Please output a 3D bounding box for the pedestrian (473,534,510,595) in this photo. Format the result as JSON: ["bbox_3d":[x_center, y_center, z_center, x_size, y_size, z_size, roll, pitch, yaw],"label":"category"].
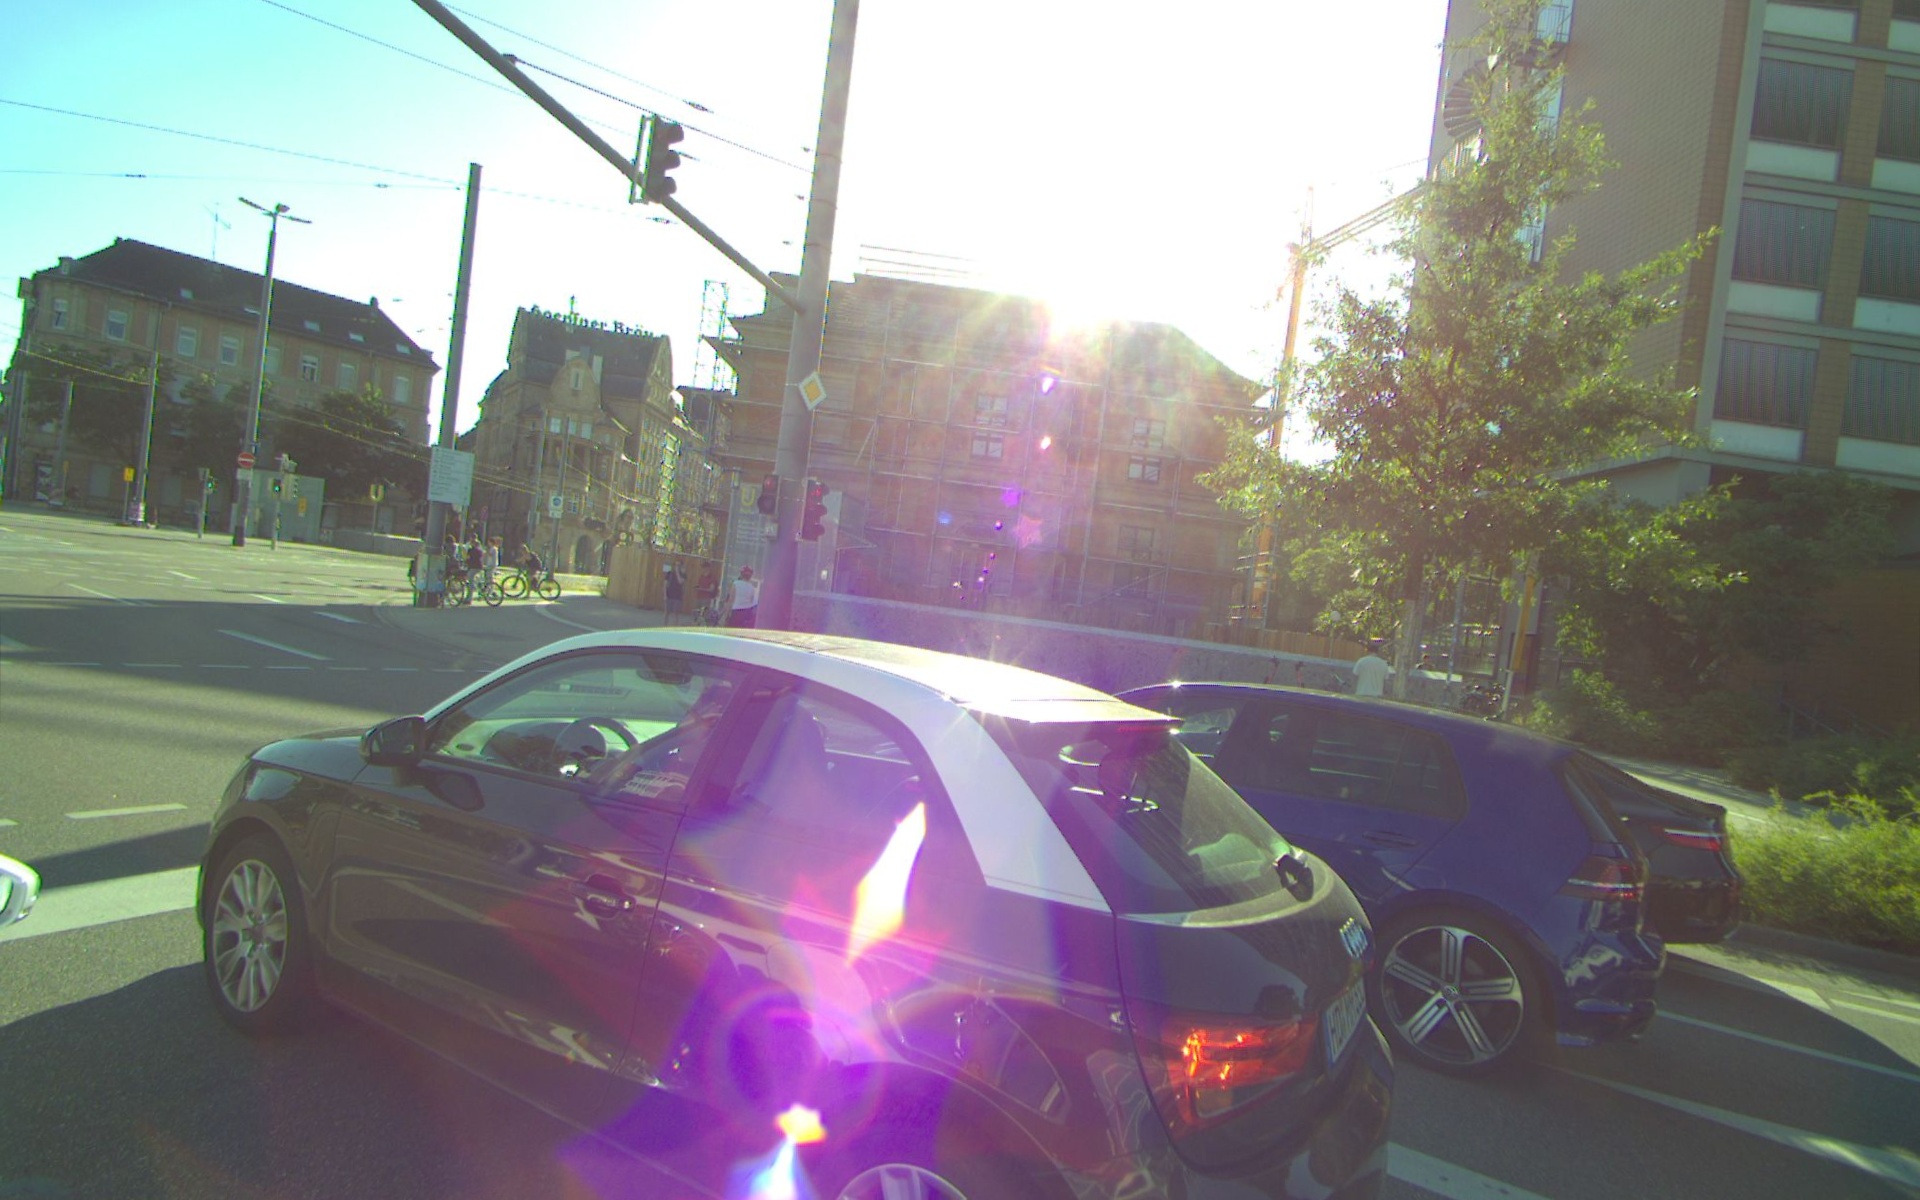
[{"bbox_3d":[-15.946,-1.192,34.232,0.678,1.945,0.649,7,-1,25],"label":"pedestrian"}]

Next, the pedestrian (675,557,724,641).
[{"bbox_3d":[-5.993,-0.021,23.164,0.672,1.828,0.672,7,-1,11],"label":"pedestrian"}]

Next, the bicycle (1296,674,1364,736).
[{"bbox_3d":[6.958,1.963,18.953,0.352,1.015,1.149,8,-2,-29],"label":"bicycle"}]

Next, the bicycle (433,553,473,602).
[{"bbox_3d":[-12.702,-0.592,25.150,0.693,1.061,2.303,9,-1,-29],"label":"bicycle"}]

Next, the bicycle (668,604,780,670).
[{"bbox_3d":[-4.373,0.675,18.588,1.999,0.976,0.659,6,2,27],"label":"bicycle"}]

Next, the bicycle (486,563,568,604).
[{"bbox_3d":[-13.580,-0.514,31.602,2.289,1.063,0.532,5,2,-25],"label":"bicycle"}]

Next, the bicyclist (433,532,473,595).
[{"bbox_3d":[-12.716,-0.909,25.230,0.702,1.456,0.940,8,-1,-29],"label":"bicyclist"}]

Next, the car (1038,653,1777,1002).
[{"bbox_3d":[3.010,1.410,7.489,4.436,1.420,1.727,6,-2,31],"label":"car"}]

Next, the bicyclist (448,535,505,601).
[{"bbox_3d":[-12.736,-0.840,26.507,0.929,1.575,0.711,7,-1,8],"label":"bicyclist"}]

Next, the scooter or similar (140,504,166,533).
[{"bbox_3d":[-42.027,-4.235,52.404,0.784,1.392,1.885,8,-2,-44],"label":"scooter or similar"}]

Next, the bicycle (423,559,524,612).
[{"bbox_3d":[-12.814,-0.371,26.504,2.276,1.061,0.702,7,-1,8],"label":"bicycle"}]

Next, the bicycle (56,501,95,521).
[{"bbox_3d":[-54.390,-5.461,61.878,1.580,0.963,0.655,8,-2,-25],"label":"bicycle"}]

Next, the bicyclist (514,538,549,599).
[{"bbox_3d":[-13.466,-0.974,31.623,0.785,1.800,0.520,8,-1,-23],"label":"bicyclist"}]

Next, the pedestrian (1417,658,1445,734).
[{"bbox_3d":[11.237,2.282,24.024,0.369,1.752,0.444,7,-1,17],"label":"pedestrian"}]

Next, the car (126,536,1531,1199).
[{"bbox_3d":[-0.628,0.753,3.030,3.934,1.420,1.627,6,-2,32],"label":"car"}]

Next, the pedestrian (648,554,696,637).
[{"bbox_3d":[-6.667,-0.104,23.320,0.672,1.830,0.672,7,2,11],"label":"pedestrian"}]

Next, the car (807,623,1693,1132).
[{"bbox_3d":[1.299,1.099,5.338,3.934,1.420,1.627,6,-2,32],"label":"car"}]

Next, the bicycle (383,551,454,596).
[{"bbox_3d":[-16.816,-0.832,31.214,2.278,1.061,0.536,8,-1,24],"label":"bicycle"}]

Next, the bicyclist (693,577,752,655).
[{"bbox_3d":[-4.388,0.296,18.611,0.662,1.330,0.617,7,-1,27],"label":"bicyclist"}]

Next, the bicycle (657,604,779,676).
[{"bbox_3d":[-4.179,0.689,17.320,1.999,0.974,0.660,6,-1,27],"label":"bicycle"}]

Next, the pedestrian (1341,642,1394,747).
[{"bbox_3d":[6.863,1.567,16.938,0.592,1.662,0.677,7,3,29],"label":"pedestrian"}]

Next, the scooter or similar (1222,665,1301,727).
[{"bbox_3d":[5.869,1.854,19.596,1.346,1.007,0.343,7,-1,13],"label":"scooter or similar"}]

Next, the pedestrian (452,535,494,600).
[{"bbox_3d":[-16.223,-1.088,33.545,0.748,2.037,0.733,7,-1,25],"label":"pedestrian"}]

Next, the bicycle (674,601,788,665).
[{"bbox_3d":[-4.493,0.641,19.802,1.997,0.976,0.660,7,2,5],"label":"bicycle"}]

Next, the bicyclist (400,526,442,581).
[{"bbox_3d":[-16.712,-1.451,31.210,0.930,1.575,0.516,7,-1,23],"label":"bicyclist"}]

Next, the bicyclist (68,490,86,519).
[{"bbox_3d":[-54.313,-5.866,61.866,0.509,1.720,0.517,7,-1,-25],"label":"bicyclist"}]

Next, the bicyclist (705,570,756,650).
[{"bbox_3d":[-4.515,0.211,19.803,0.661,1.471,0.618,7,-1,3],"label":"bicyclist"}]

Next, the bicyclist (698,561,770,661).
[{"bbox_3d":[-3.857,0.195,17.192,0.781,1.571,0.668,7,-1,27],"label":"bicyclist"}]

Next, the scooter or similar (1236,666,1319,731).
[{"bbox_3d":[5.898,1.826,18.701,1.348,1.007,0.342,7,-1,25],"label":"scooter or similar"}]

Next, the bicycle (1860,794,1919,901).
[{"bbox_3d":[10.750,2.687,10.431,1.996,0.975,0.660,6,0,10],"label":"bicycle"}]
